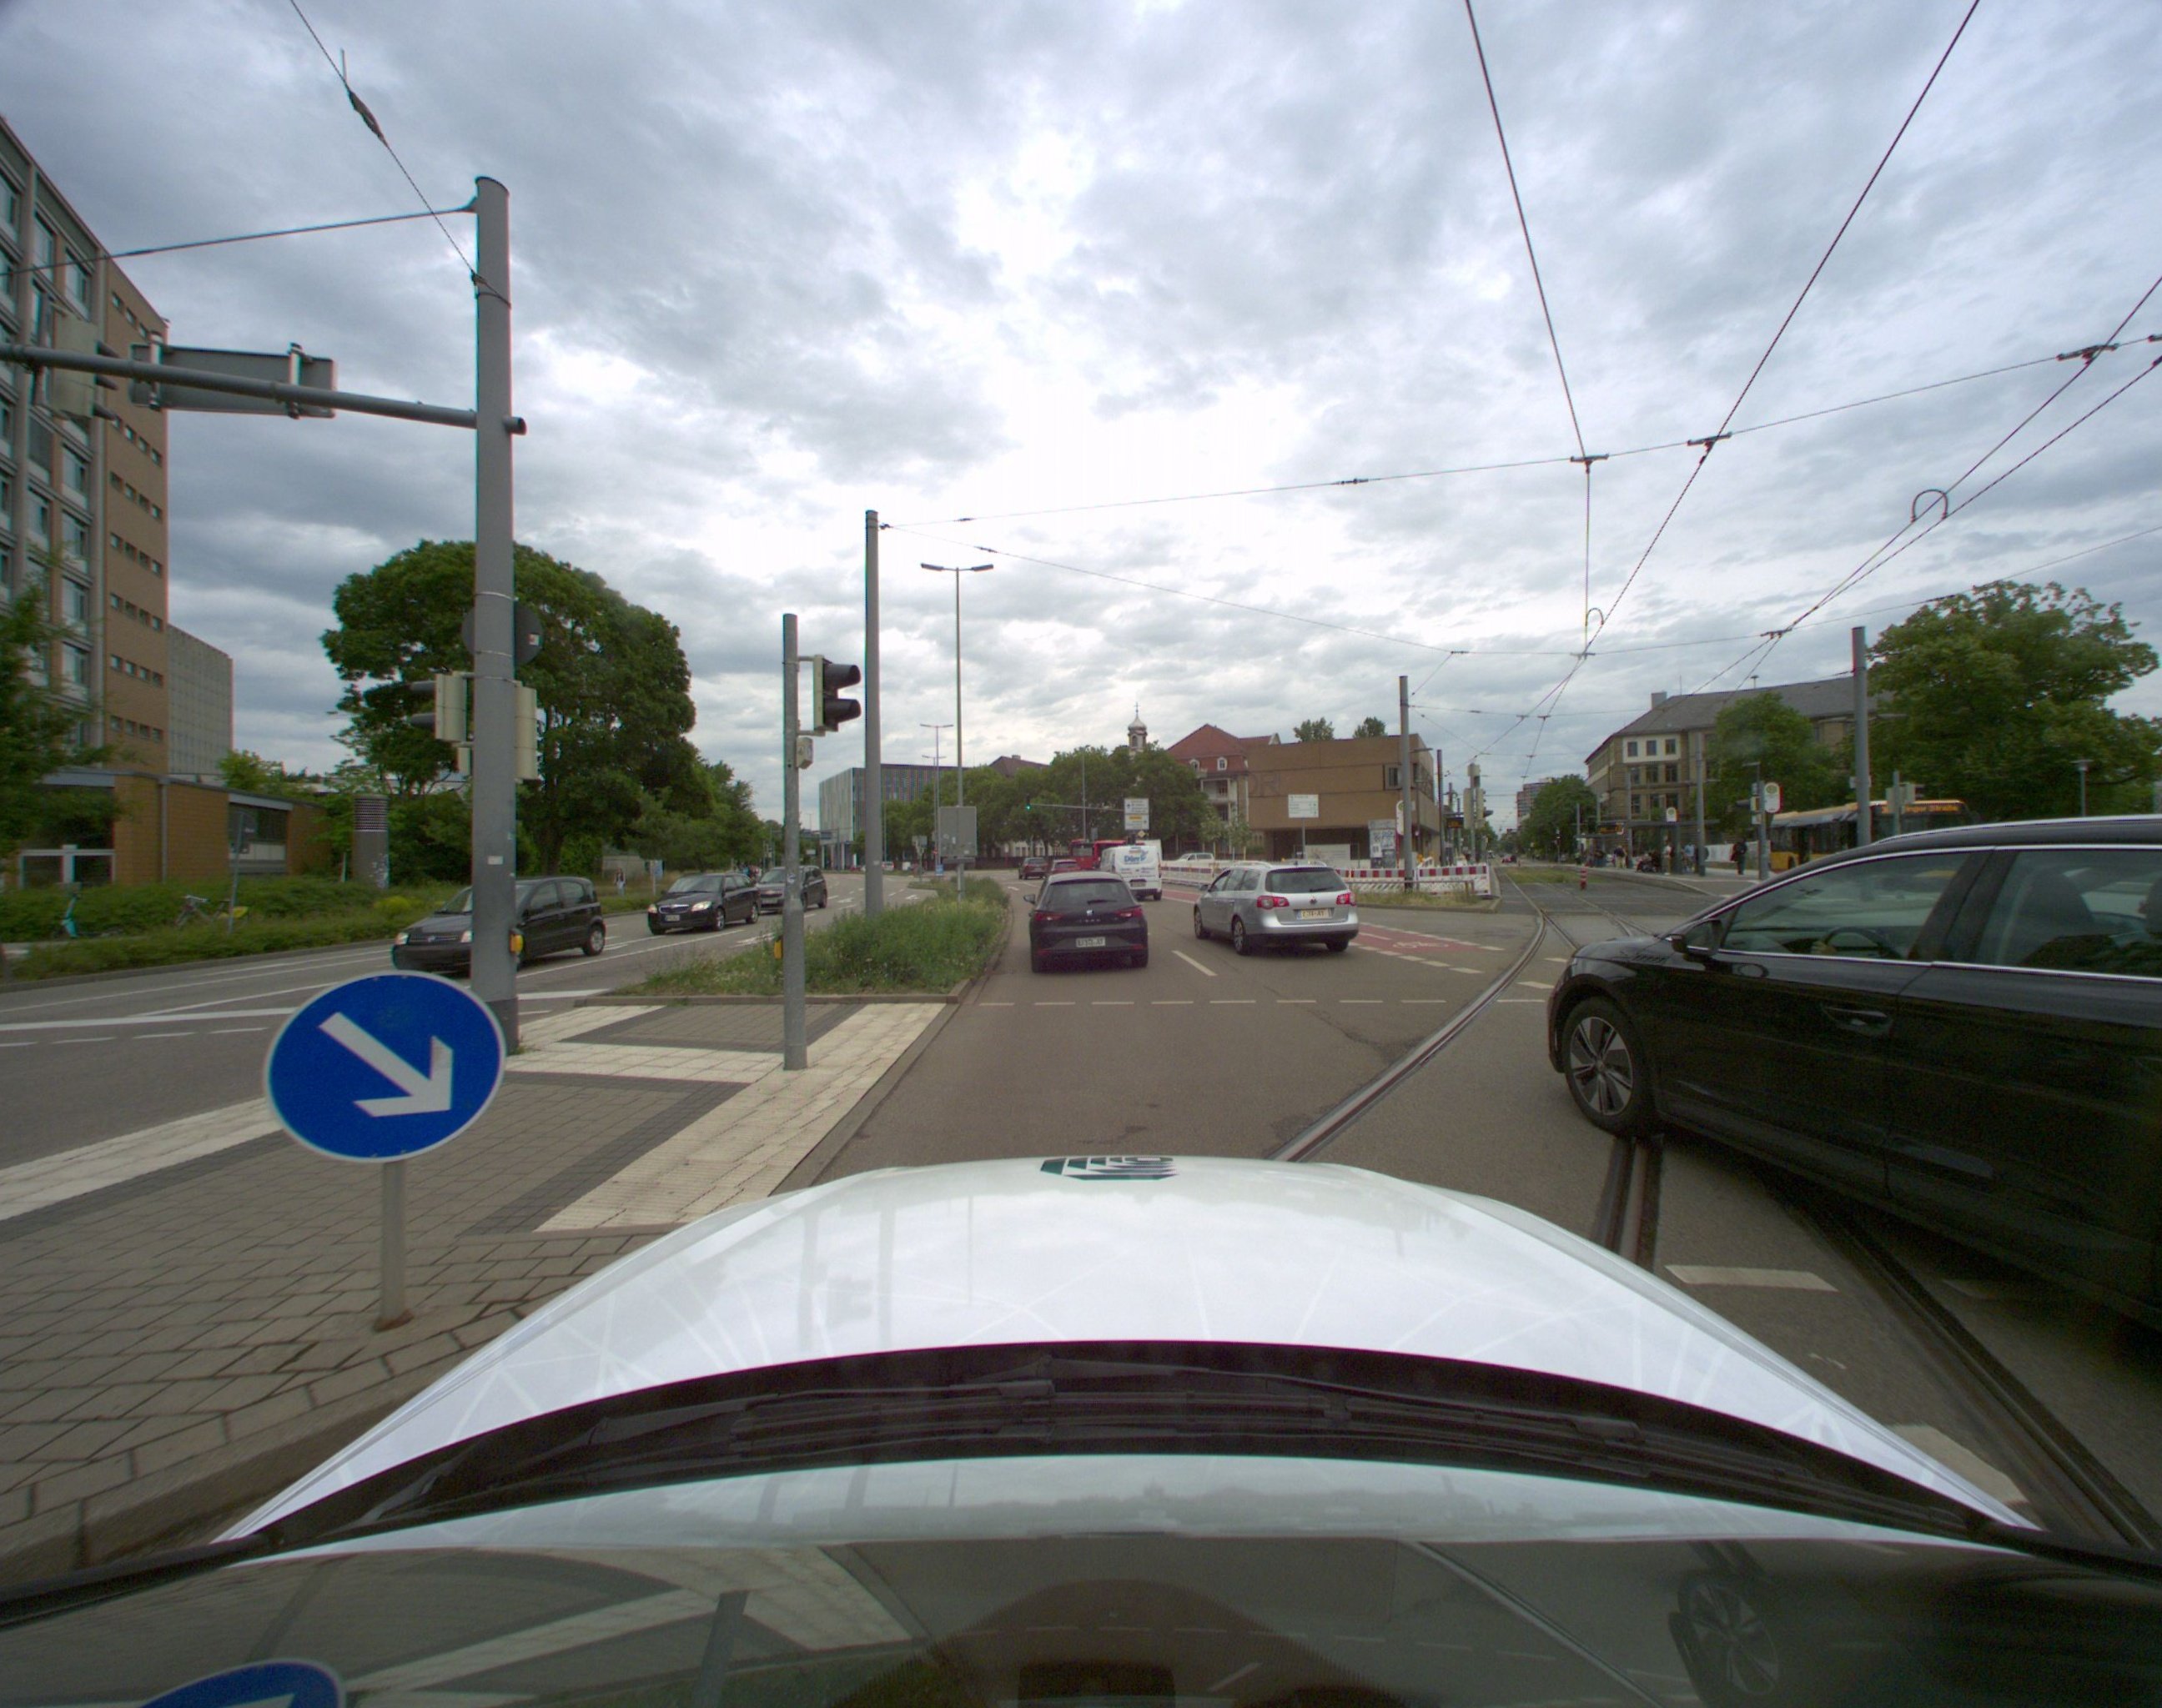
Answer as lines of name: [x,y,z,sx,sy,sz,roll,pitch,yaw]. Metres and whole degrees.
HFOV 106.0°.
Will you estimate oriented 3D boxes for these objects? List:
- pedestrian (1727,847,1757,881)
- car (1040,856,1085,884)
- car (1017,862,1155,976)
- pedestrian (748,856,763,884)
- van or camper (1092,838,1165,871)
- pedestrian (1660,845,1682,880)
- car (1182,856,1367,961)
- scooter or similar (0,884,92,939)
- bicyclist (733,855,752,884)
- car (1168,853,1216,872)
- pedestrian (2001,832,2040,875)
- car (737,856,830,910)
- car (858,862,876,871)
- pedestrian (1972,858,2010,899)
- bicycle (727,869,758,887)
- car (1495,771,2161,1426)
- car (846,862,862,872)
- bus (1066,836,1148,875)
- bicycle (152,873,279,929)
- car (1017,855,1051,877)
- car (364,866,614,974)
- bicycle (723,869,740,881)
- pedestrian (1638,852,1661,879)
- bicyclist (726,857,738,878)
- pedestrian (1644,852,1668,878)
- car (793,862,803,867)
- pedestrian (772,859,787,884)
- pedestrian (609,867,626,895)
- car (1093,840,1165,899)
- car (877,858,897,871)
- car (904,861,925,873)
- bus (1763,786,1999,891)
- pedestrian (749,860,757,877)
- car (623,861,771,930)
pedestrian: [32.687,0.507,40.272,0.994,1.645,1.027,-1,-1,32]
car: [-1.143,0.926,48.240,1.859,1.600,4.187,-1,-1,-12]
car: [-0.075,0.920,13.280,1.744,1.464,3.991,-3,-1,-6]
pedestrian: [-22.558,1.105,56.440,0.756,1.842,0.764,-2,-1,-7]
van or camper: [4.989,0.034,85.287,7.171,3.332,2.850,0,-2,-29]
pedestrian: [30.664,0.433,42.362,0.816,1.808,1.027,-1,-1,32]
car: [3.138,0.814,14.267,1.718,1.482,4.619,-2,-1,-5]
scooter or similar: [-26.401,1.444,20.562,1.774,1.302,0.627,-1,-1,-16]
bicyclist: [-22.364,1.026,53.773,0.783,1.844,0.838,-1,-1,23]
car: [12.170,0.900,89.124,5.017,1.865,1.981,0,-4,-28]
pedestrian: [41.291,-0.001,35.812,0.816,1.853,1.027,-1,-1,32]
car: [-10.453,0.982,29.023,1.867,1.725,4.704,-2,-1,-4]
car: [-37.211,2.174,141.359,2.006,1.640,3.961,-1,0,-30]
pedestrian: [40.516,1.087,36.269,0.816,1.808,1.027,-1,-1,32]
bicycle: [-22.341,1.574,53.782,0.782,1.159,1.917,-1,-1,24]
car: [3.674,0.621,3.067,1.897,1.658,4.513,-1,-1,0]
car: [-42.466,2.428,152.159,2.006,1.682,3.973,-1,-1,-28]
bus: [2.603,0.198,74.393,3.031,3.298,12.447,-1,-1,23]
bicycle: [-24.153,1.267,22.793,0.839,1.449,2.266,-1,-1,21]
car: [-3.667,0.929,63.123,1.995,1.566,4.188,-1,-1,-12]
car: [-9.700,0.981,13.731,1.614,1.515,3.661,-2,-1,-3]
bicycle: [-26.734,1.626,62.355,0.714,0.882,1.878,0,0,-8]
pedestrian: [33.117,0.669,47.442,1.008,1.576,1.014,-1,-1,31]
bicyclist: [-26.748,1.011,62.442,0.714,1.570,0.710,0,-1,-9]
pedestrian: [32.165,0.610,45.589,1.008,1.403,1.014,-1,-1,32]
car: [-67.147,2.469,193.301,1.721,1.265,3.310,-1,-1,-27]
pedestrian: [-22.089,1.268,59.723,0.892,1.842,0.666,-1,-1,-7]
pedestrian: [-25.101,1.456,44.099,0.561,1.541,0.753,0,-1,-7]
car: [1.730,0.562,30.873,1.990,2.019,5.022,-1,-1,-5]
car: [-31.043,1.739,130.412,2.007,2.014,3.960,-1,0,-31]
car: [-25.230,1.929,123.277,1.929,1.684,3.962,-1,-1,-29]
bus: [30.176,-0.422,31.679,2.988,3.268,13.121,-1,-1,29]
pedestrian: [-39.341,1.793,97.809,0.756,2.014,1.041,-1,-1,-16]
car: [-9.903,1.006,21.441,1.866,1.508,4.474,-3,-1,-3]
